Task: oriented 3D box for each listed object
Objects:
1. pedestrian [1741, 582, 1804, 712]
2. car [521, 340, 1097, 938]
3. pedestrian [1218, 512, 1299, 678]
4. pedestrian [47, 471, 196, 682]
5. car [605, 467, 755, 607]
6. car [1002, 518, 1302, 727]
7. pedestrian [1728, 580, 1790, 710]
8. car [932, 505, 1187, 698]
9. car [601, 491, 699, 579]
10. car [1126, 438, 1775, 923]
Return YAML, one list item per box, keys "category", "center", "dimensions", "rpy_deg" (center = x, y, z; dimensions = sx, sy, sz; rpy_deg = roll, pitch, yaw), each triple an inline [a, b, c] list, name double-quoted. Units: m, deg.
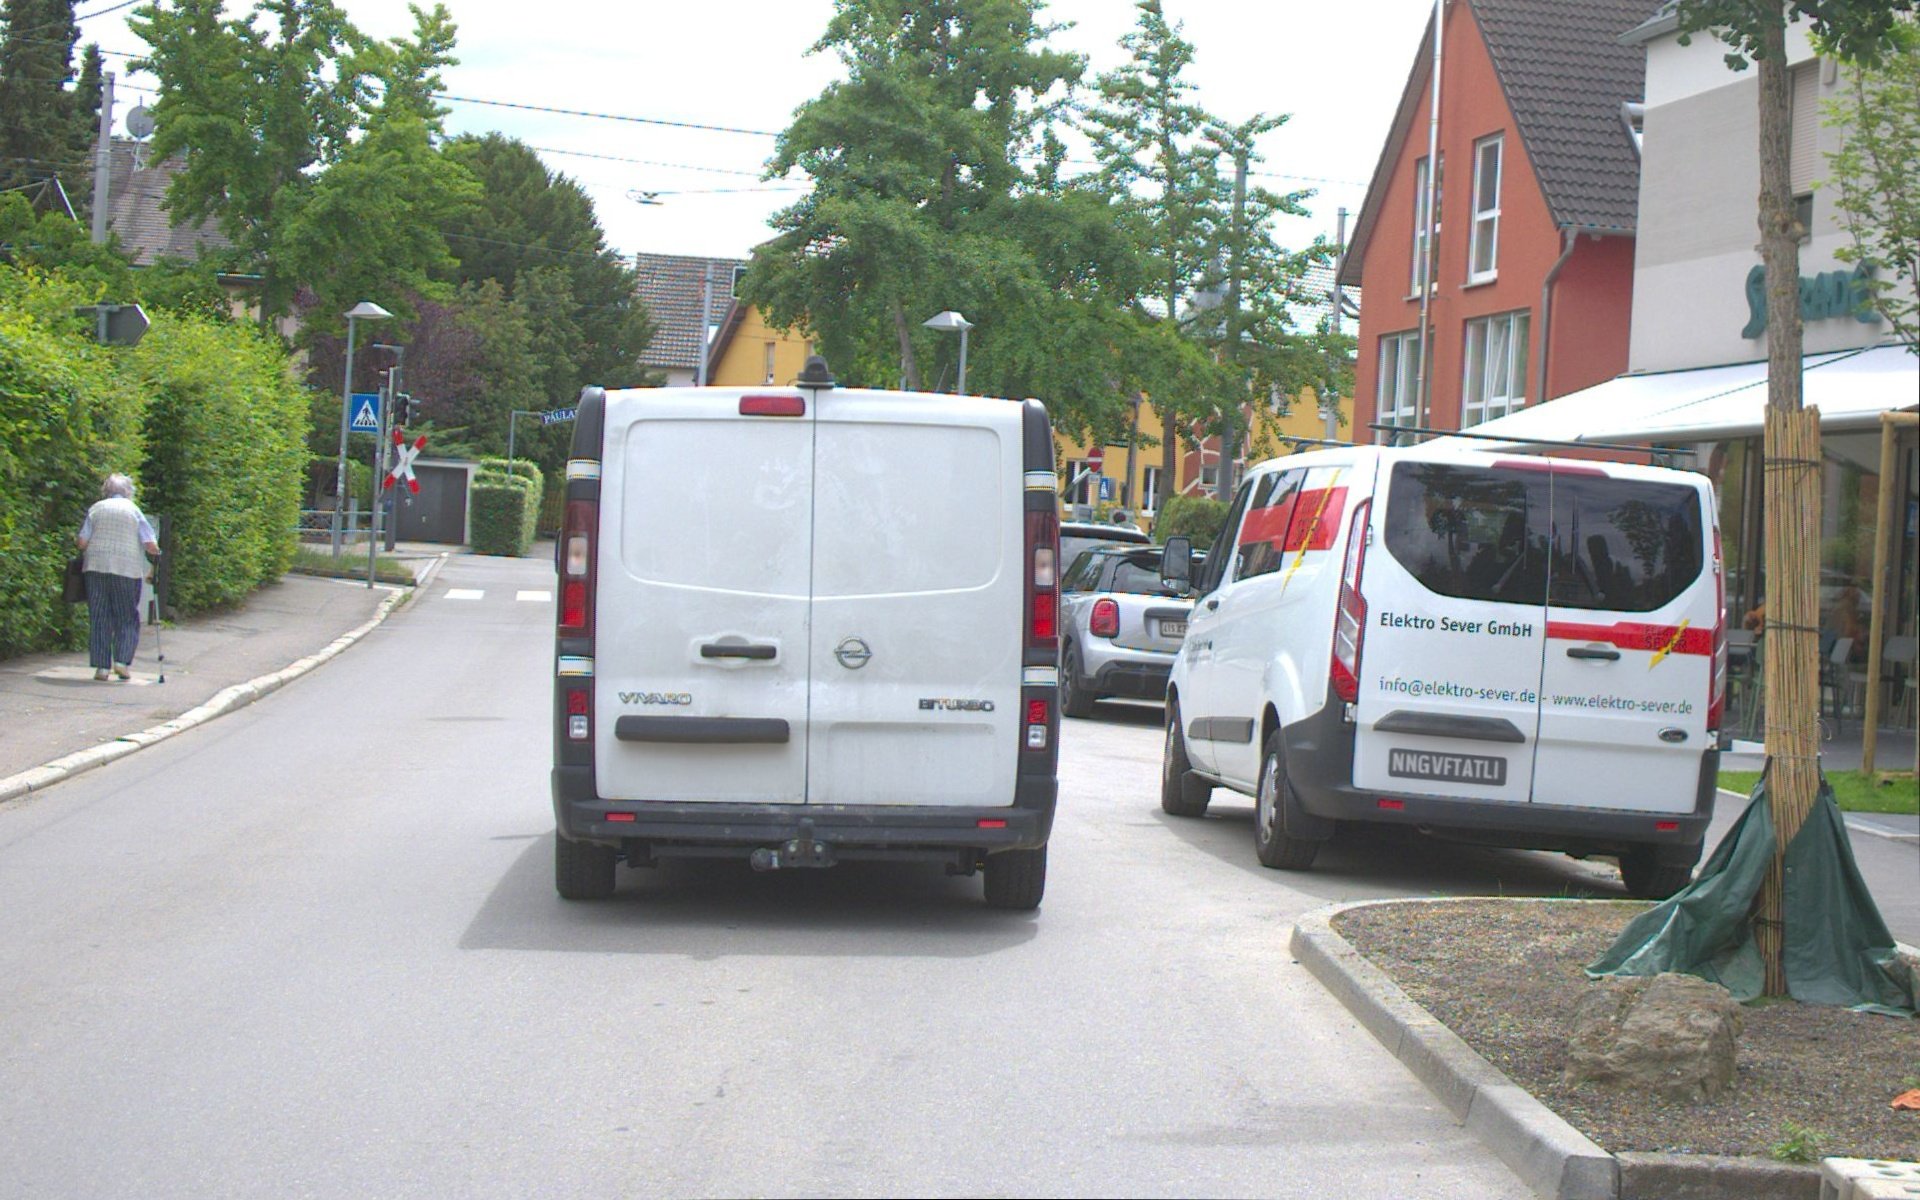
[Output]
- category: "pedestrian"
  center: [7.492, 0.432, 31.701]
  dimensions: [0.421, 1.161, 0.324]
  rpy_deg: [3, 0, -6]
- category: "car"
  center: [-0.673, 0.116, 14.184]
  dimensions: [1.915, 1.996, 4.438]
  rpy_deg: [3, 0, -4]
- category: "pedestrian"
  center: [2.984, -0.055, 34.428]
  dimensions: [0.590, 1.601, 0.529]
  rpy_deg: [5, 0, -3]
- category: "pedestrian"
  center: [-6.199, -0.175, 25.403]
  dimensions: [0.876, 1.480, 0.455]
  rpy_deg: [5, 0, -24]
- category: "car"
  center: [-4.027, -0.898, 49.568]
  dimensions: [1.993, 1.842, 4.001]
  rpy_deg: [2, 1, -4]
- category: "car"
  center: [1.533, 0.149, 28.803]
  dimensions: [1.741, 1.489, 3.656]
  rpy_deg: [5, 0, -7]
- category: "pedestrian"
  center: [7.447, 0.415, 32.041]
  dimensions: [0.421, 1.178, 0.324]
  rpy_deg: [3, 0, -6]
- category: "car"
  center: [0.895, -0.042, 33.510]
  dimensions: [1.702, 1.608, 4.260]
  rpy_deg: [5, 1, -7]
- category: "car"
  center: [-6.700, -1.393, 74.498]
  dimensions: [1.993, 1.776, 4.001]
  rpy_deg: [2, 1, -4]
- category: "car"
  center: [2.226, 0.315, 17.150]
  dimensions: [1.958, 1.909, 4.903]
  rpy_deg: [5, 0, -5]
